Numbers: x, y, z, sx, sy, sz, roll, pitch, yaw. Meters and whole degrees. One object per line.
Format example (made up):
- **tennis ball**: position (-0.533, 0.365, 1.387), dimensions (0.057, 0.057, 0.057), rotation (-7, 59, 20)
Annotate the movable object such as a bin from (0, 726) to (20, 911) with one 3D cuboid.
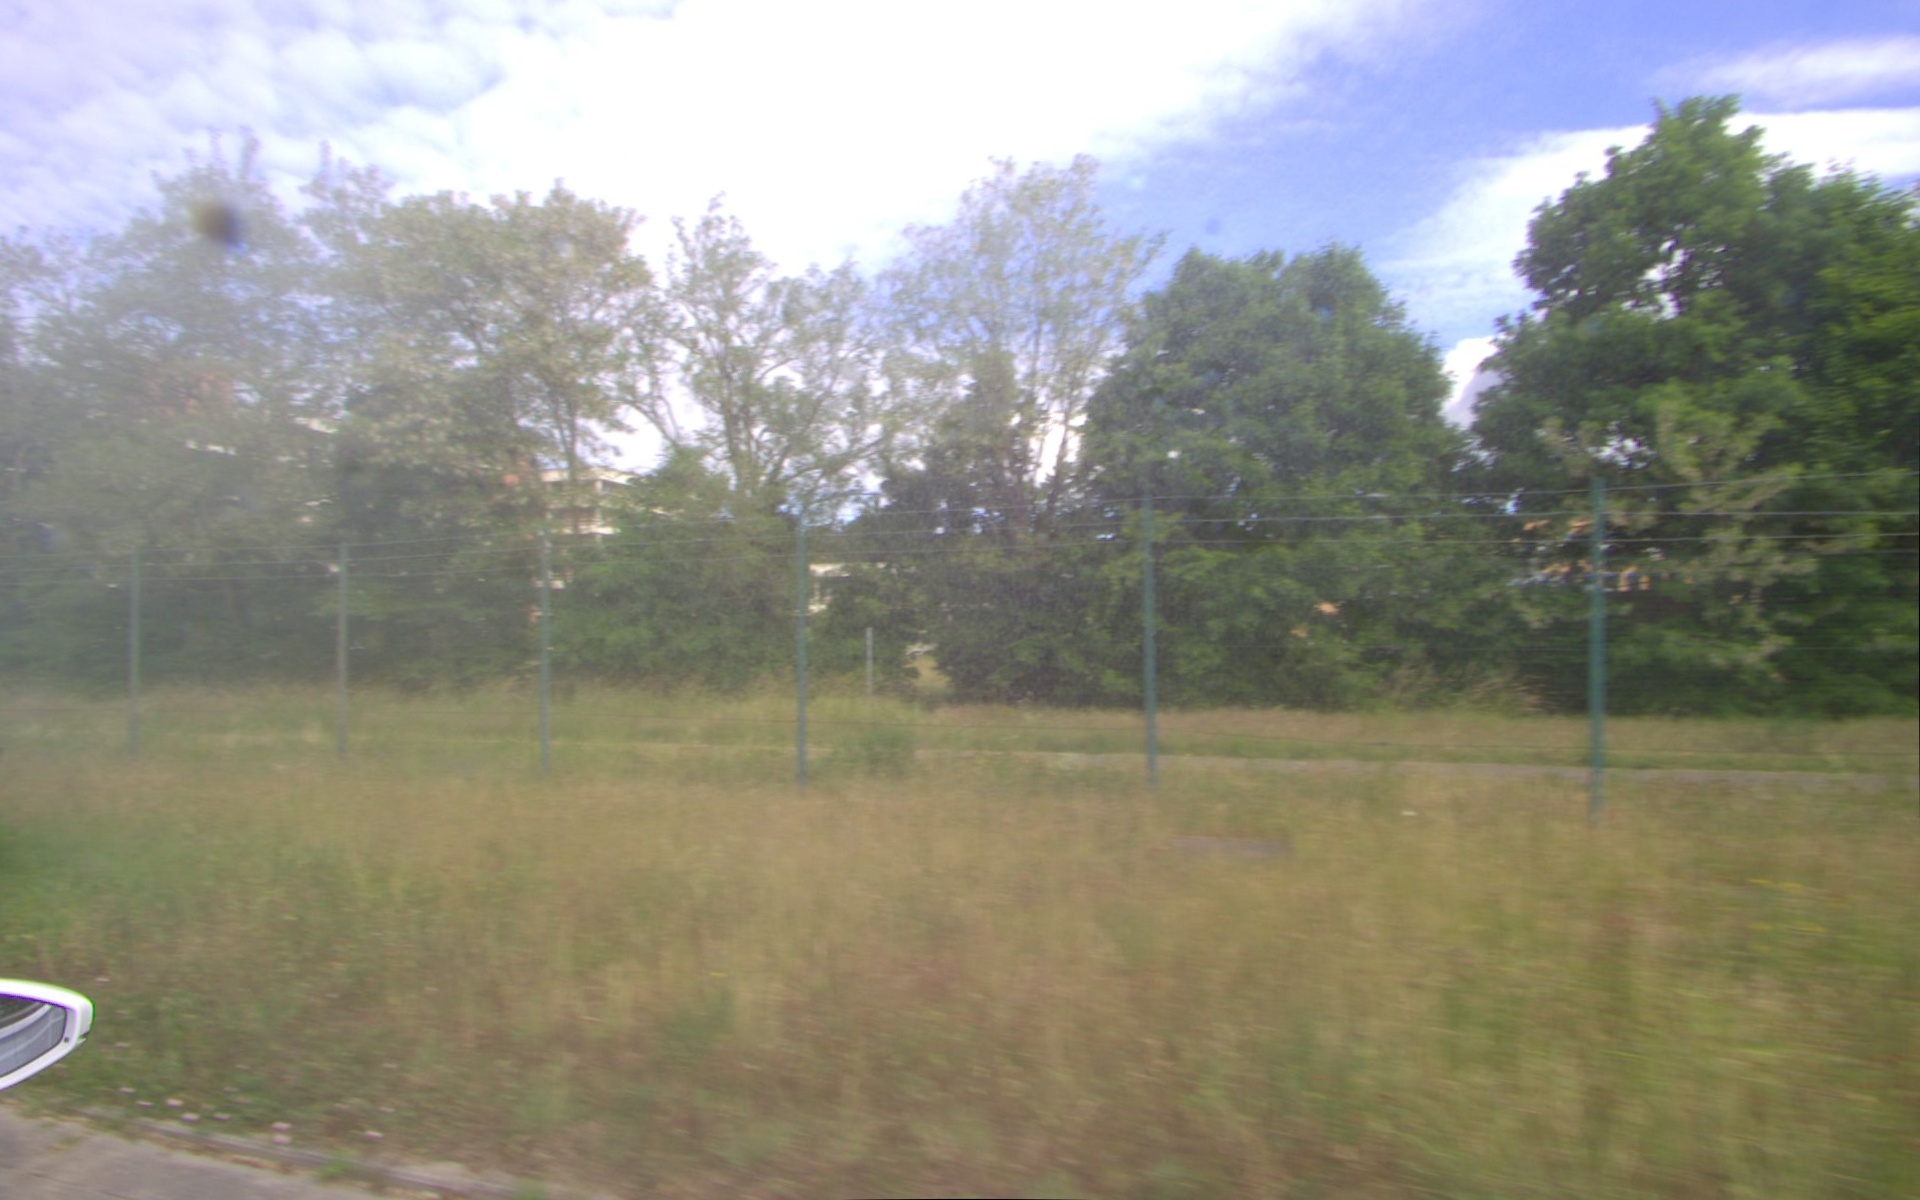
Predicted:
- **movable object such as a bin**: position (-4.990, 1.060, 4.757), dimensions (0.576, 0.876, 0.600), rotation (-2, -2, 27)
